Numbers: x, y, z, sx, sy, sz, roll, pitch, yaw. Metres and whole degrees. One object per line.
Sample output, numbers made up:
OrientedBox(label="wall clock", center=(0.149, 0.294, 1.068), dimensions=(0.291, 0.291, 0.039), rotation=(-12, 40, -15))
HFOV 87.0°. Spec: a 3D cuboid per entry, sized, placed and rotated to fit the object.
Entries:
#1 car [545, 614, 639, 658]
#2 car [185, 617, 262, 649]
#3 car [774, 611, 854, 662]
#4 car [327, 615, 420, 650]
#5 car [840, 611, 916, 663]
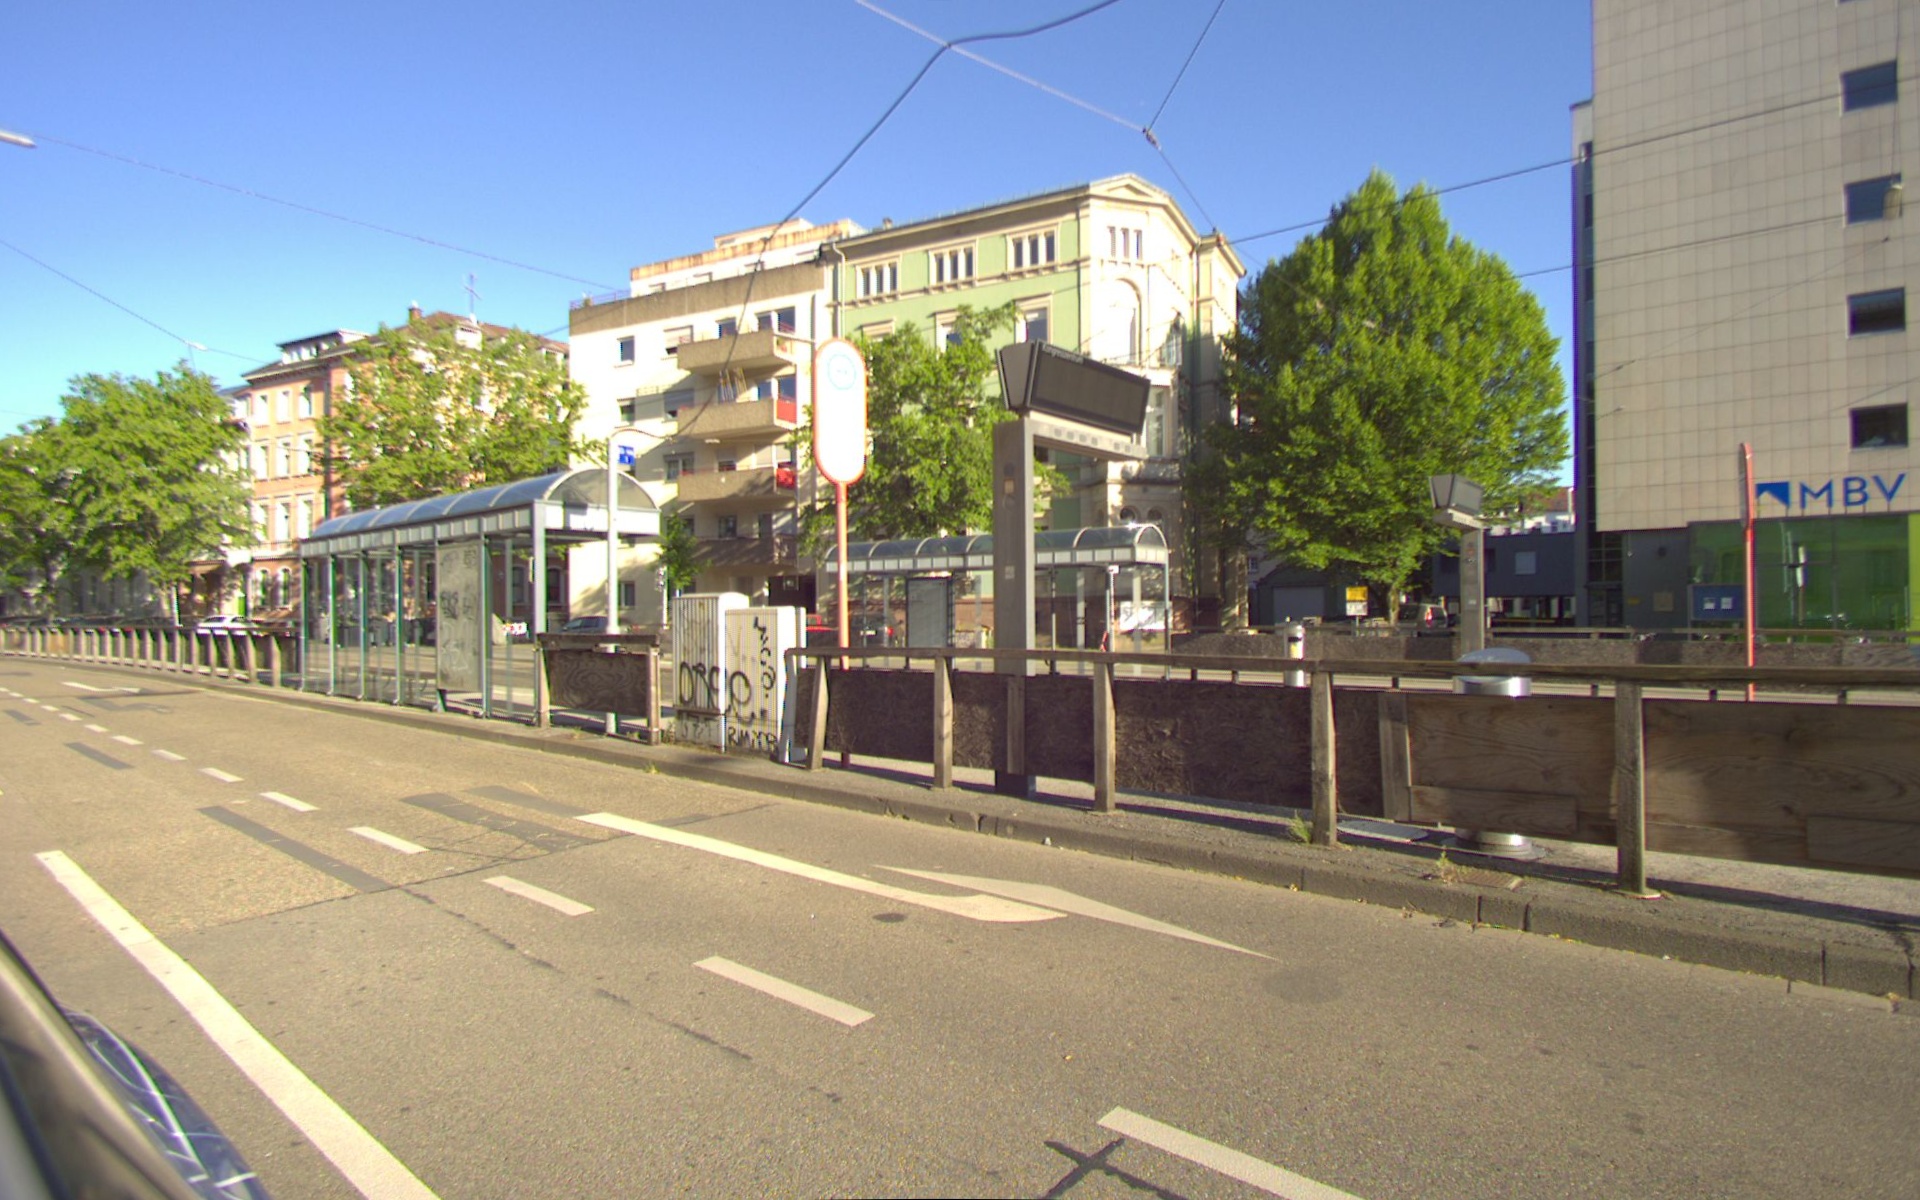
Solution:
OrientedBox(label="car", center=(-14.028, 1.329, 38.514), dimensions=(3.592, 1.579, 1.612), rotation=(-1, 0, 35))
OrientedBox(label="car", center=(-39.393, 1.733, 54.208), dimensions=(1.607, 1.579, 3.601), rotation=(-1, 0, -2))
OrientedBox(label="car", center=(-4.915, 1.211, 34.563), dimensions=(1.614, 1.579, 3.588), rotation=(-1, 0, 11))
OrientedBox(label="car", center=(-28.393, 1.554, 49.051), dimensions=(1.626, 1.579, 3.560), rotation=(-1, 0, 33))
OrientedBox(label="car", center=(-2.642, 1.182, 33.366), dimensions=(1.614, 1.579, 3.588), rotation=(-1, 0, 11))
